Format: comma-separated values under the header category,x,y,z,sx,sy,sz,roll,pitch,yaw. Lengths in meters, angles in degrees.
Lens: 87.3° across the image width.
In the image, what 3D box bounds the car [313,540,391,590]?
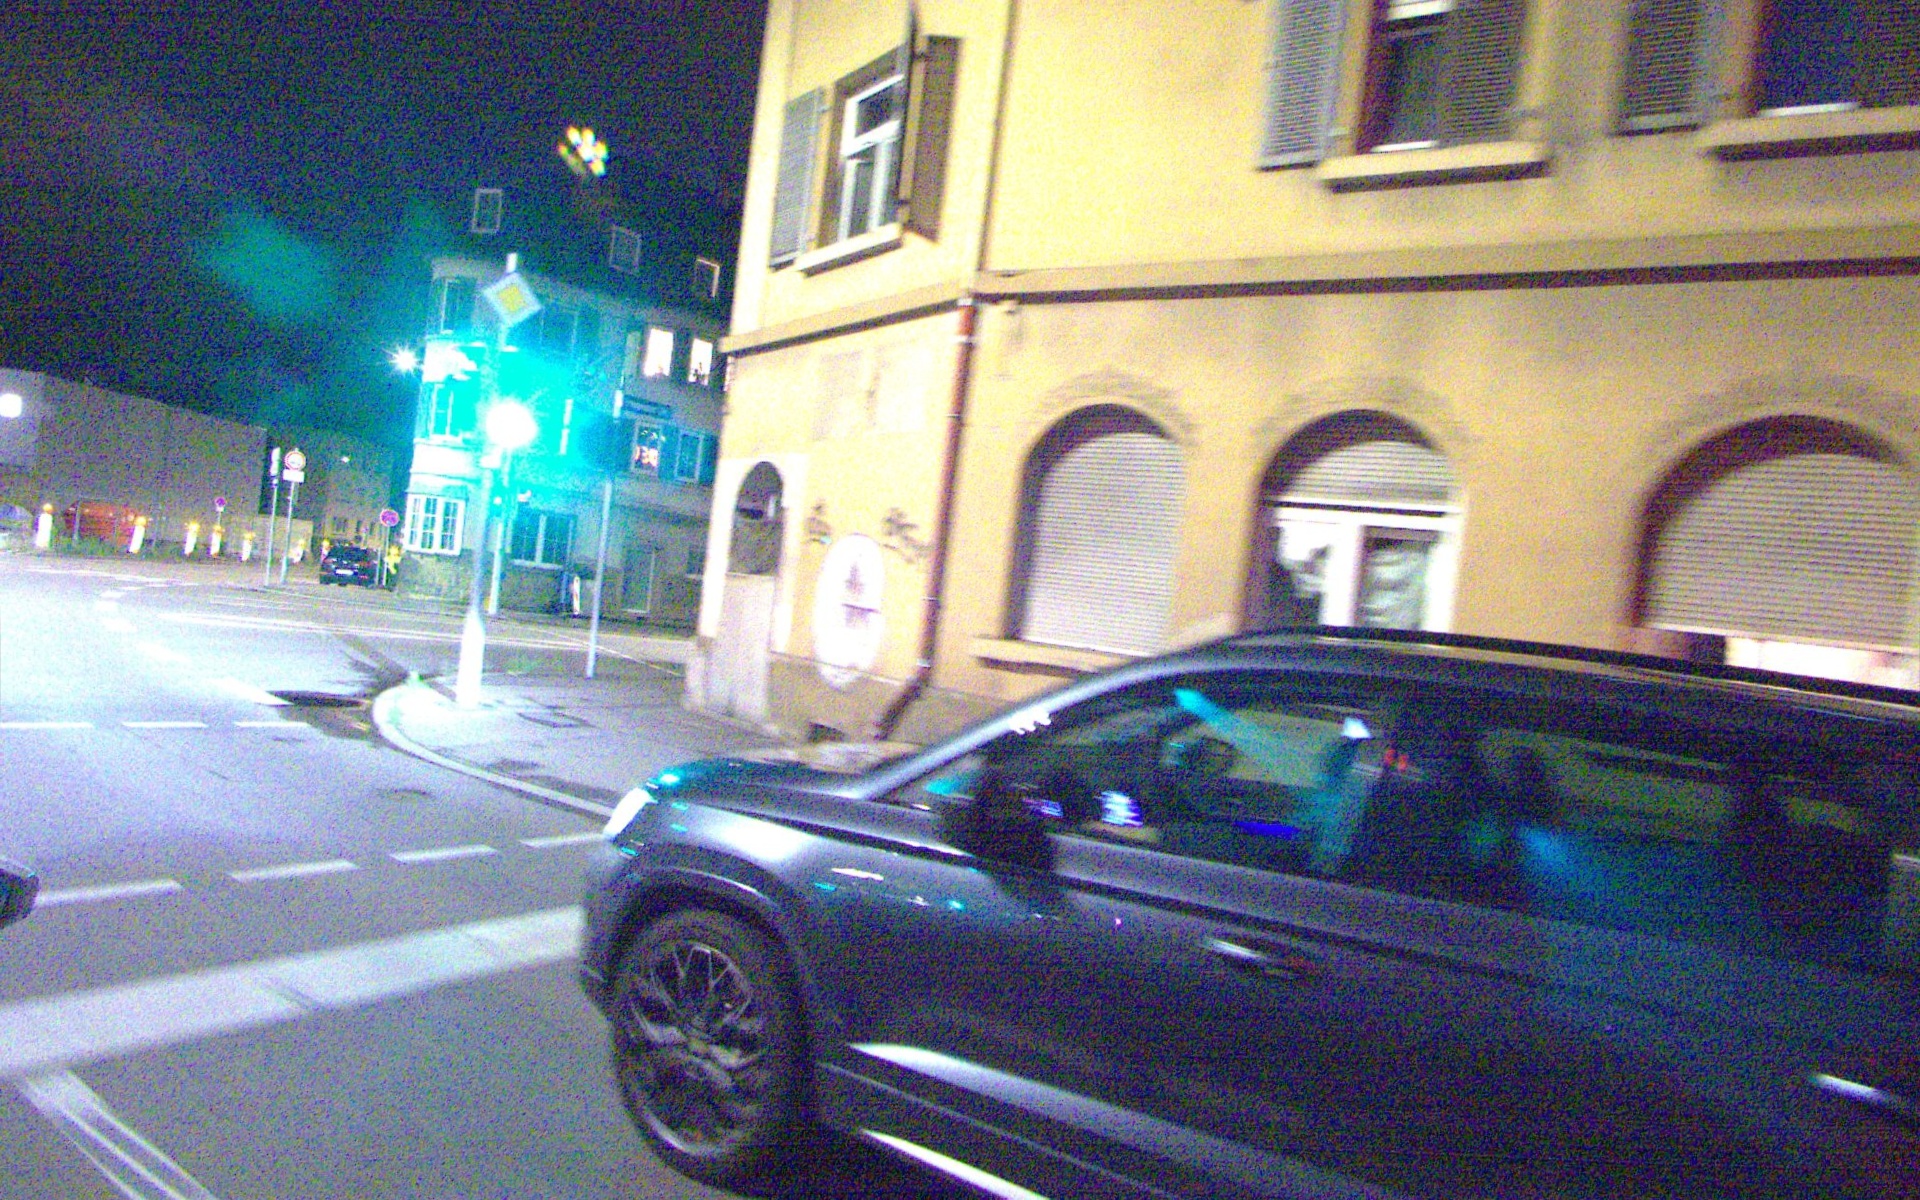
category,x,y,z,sx,sy,sz,roll,pitch,yaw
car,-23.342,-1.294,38.724,1.708,1.631,3.610,6,-1,-19

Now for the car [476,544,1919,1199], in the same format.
category,x,y,z,sx,sy,sz,roll,pitch,yaw
car,0.907,0.878,2.603,4.157,1.629,1.674,5,-2,29
